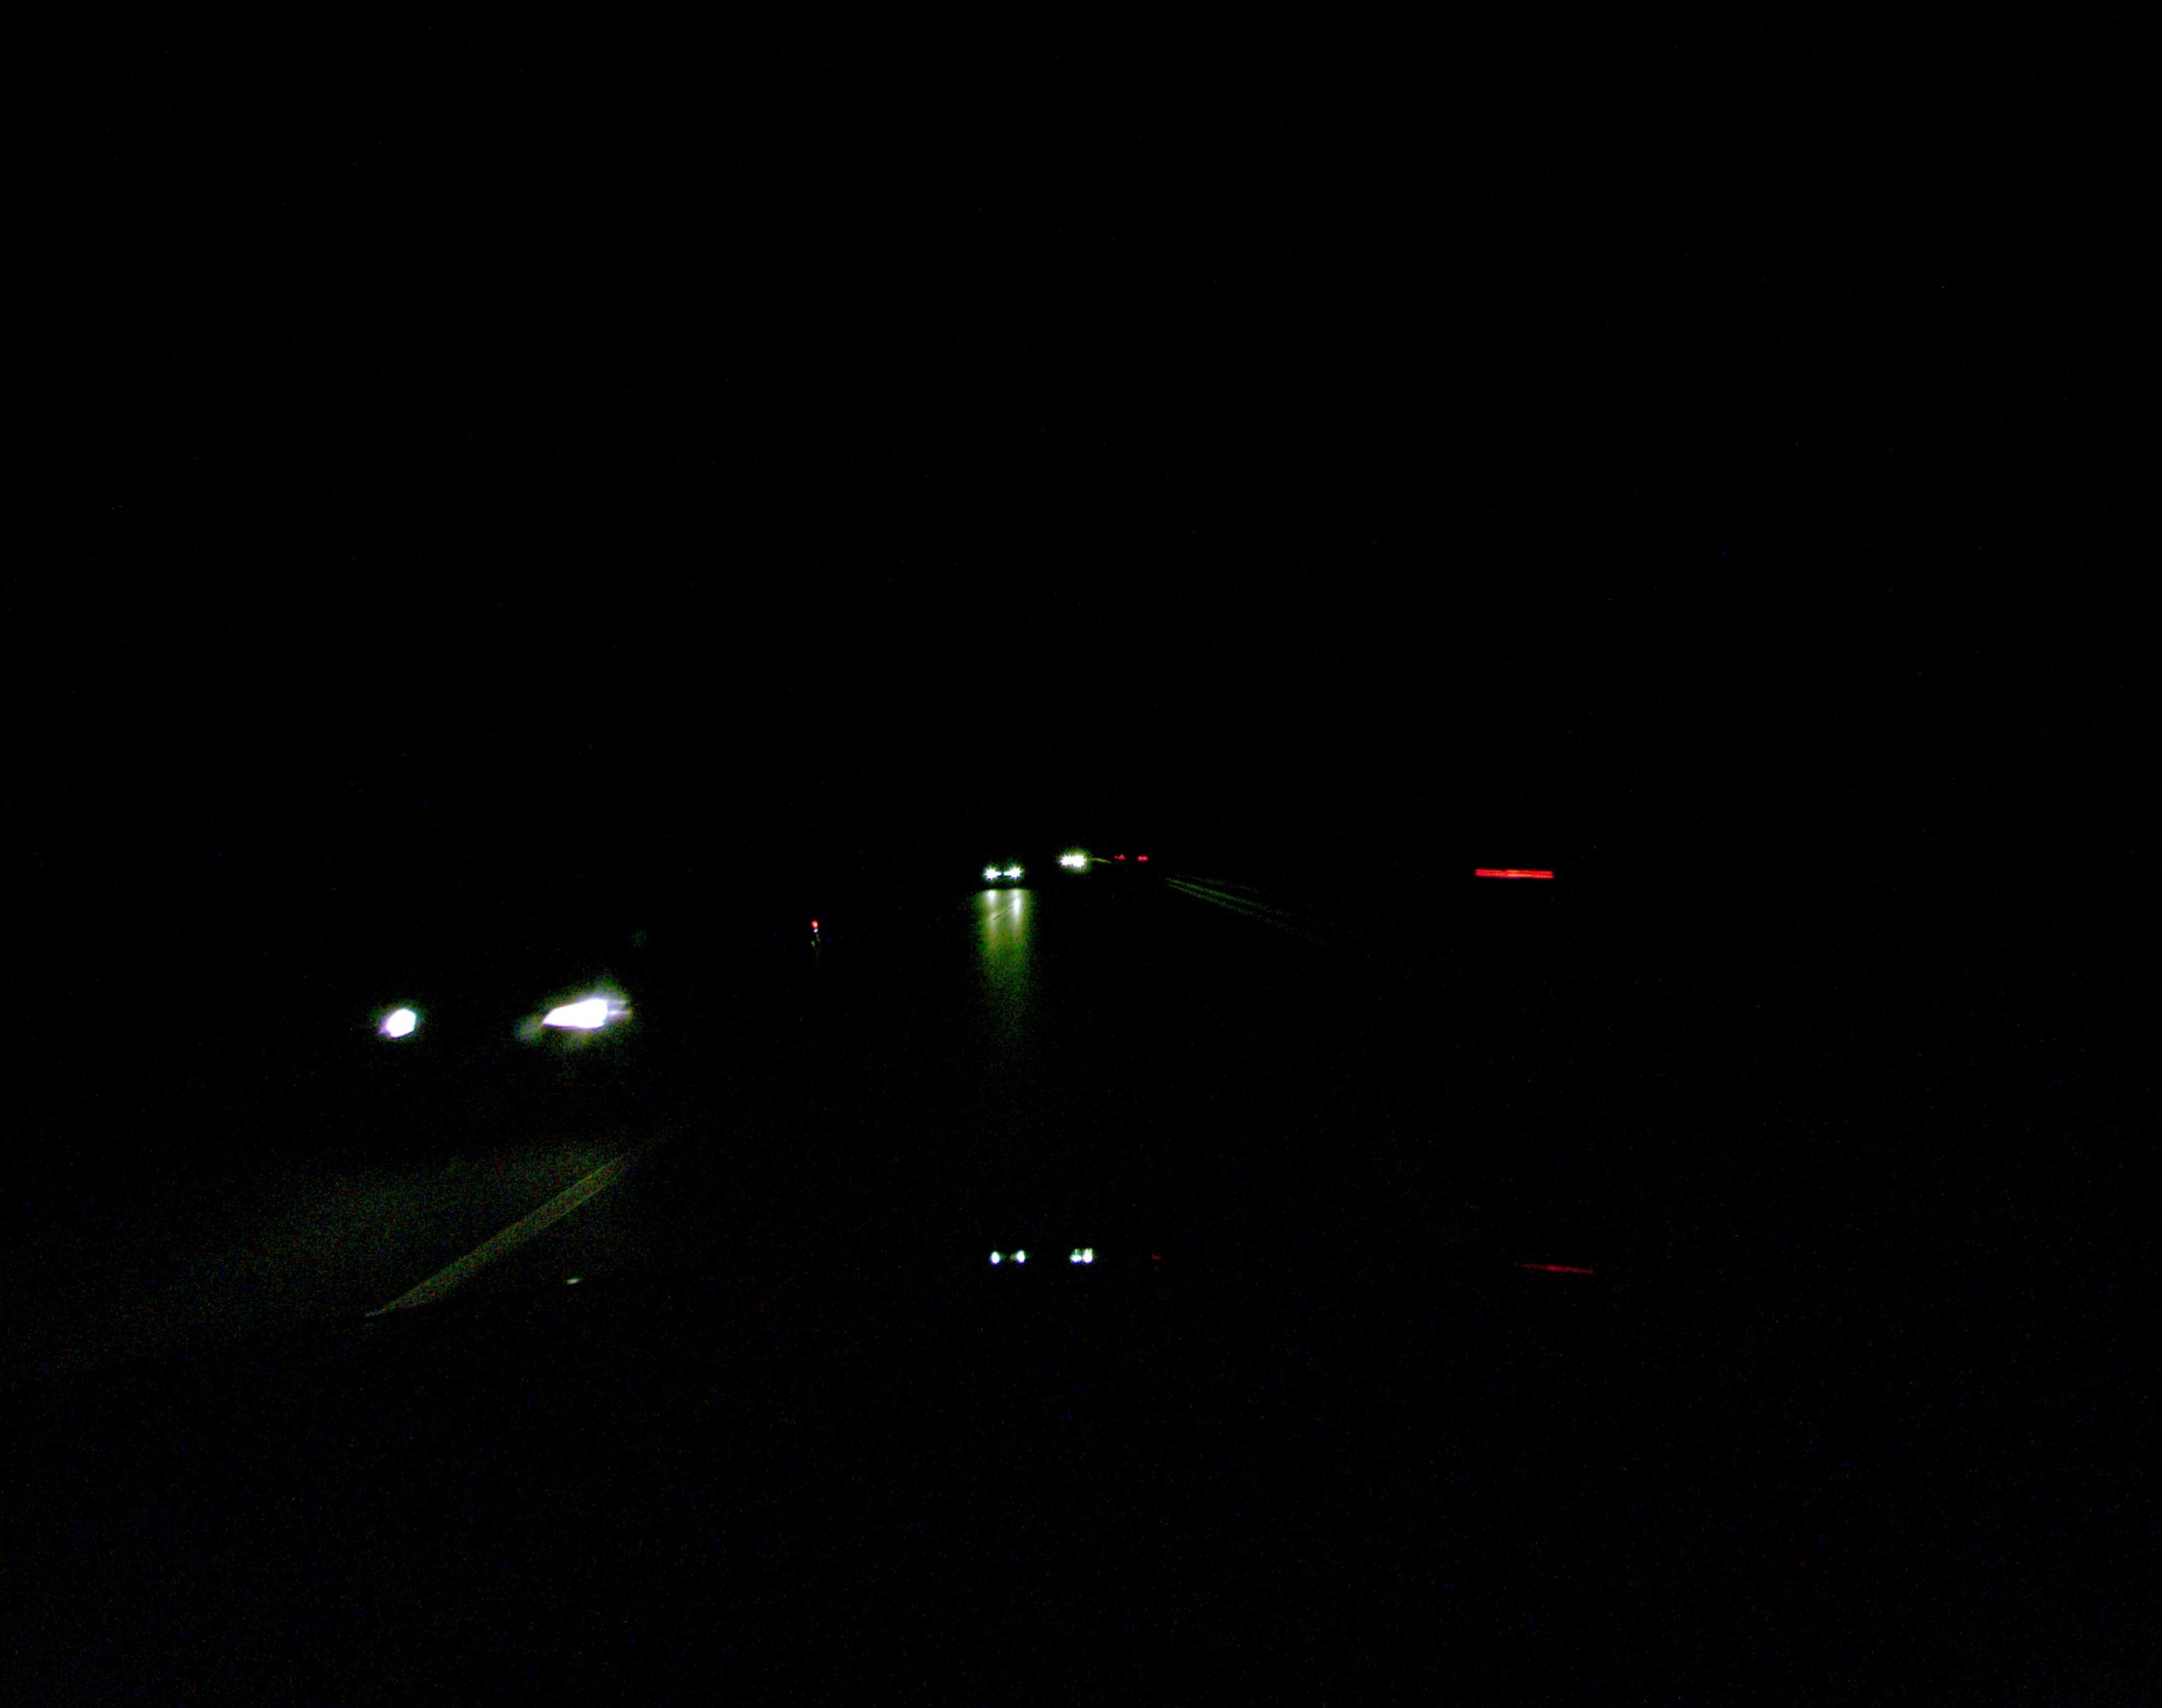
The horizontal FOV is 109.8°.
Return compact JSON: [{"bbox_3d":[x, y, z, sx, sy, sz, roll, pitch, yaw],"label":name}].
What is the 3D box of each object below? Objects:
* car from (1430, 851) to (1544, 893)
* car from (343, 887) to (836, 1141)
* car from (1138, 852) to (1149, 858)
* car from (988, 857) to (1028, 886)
[{"bbox_3d":[16.518,0.674,31.253,1.998,1.542,5.004,2,0,0],"label":"car"},{"bbox_3d":[-3.812,1.115,6.952,1.690,1.405,4.225,-1,0,1],"label":"car"},{"bbox_3d":[15.263,0.228,185.453,1.999,1.628,5.073,-1,0,-3],"label":"car"},{"bbox_3d":[-4.157,0.989,43.783,1.795,1.532,4.225,-1,0,1],"label":"car"}]
